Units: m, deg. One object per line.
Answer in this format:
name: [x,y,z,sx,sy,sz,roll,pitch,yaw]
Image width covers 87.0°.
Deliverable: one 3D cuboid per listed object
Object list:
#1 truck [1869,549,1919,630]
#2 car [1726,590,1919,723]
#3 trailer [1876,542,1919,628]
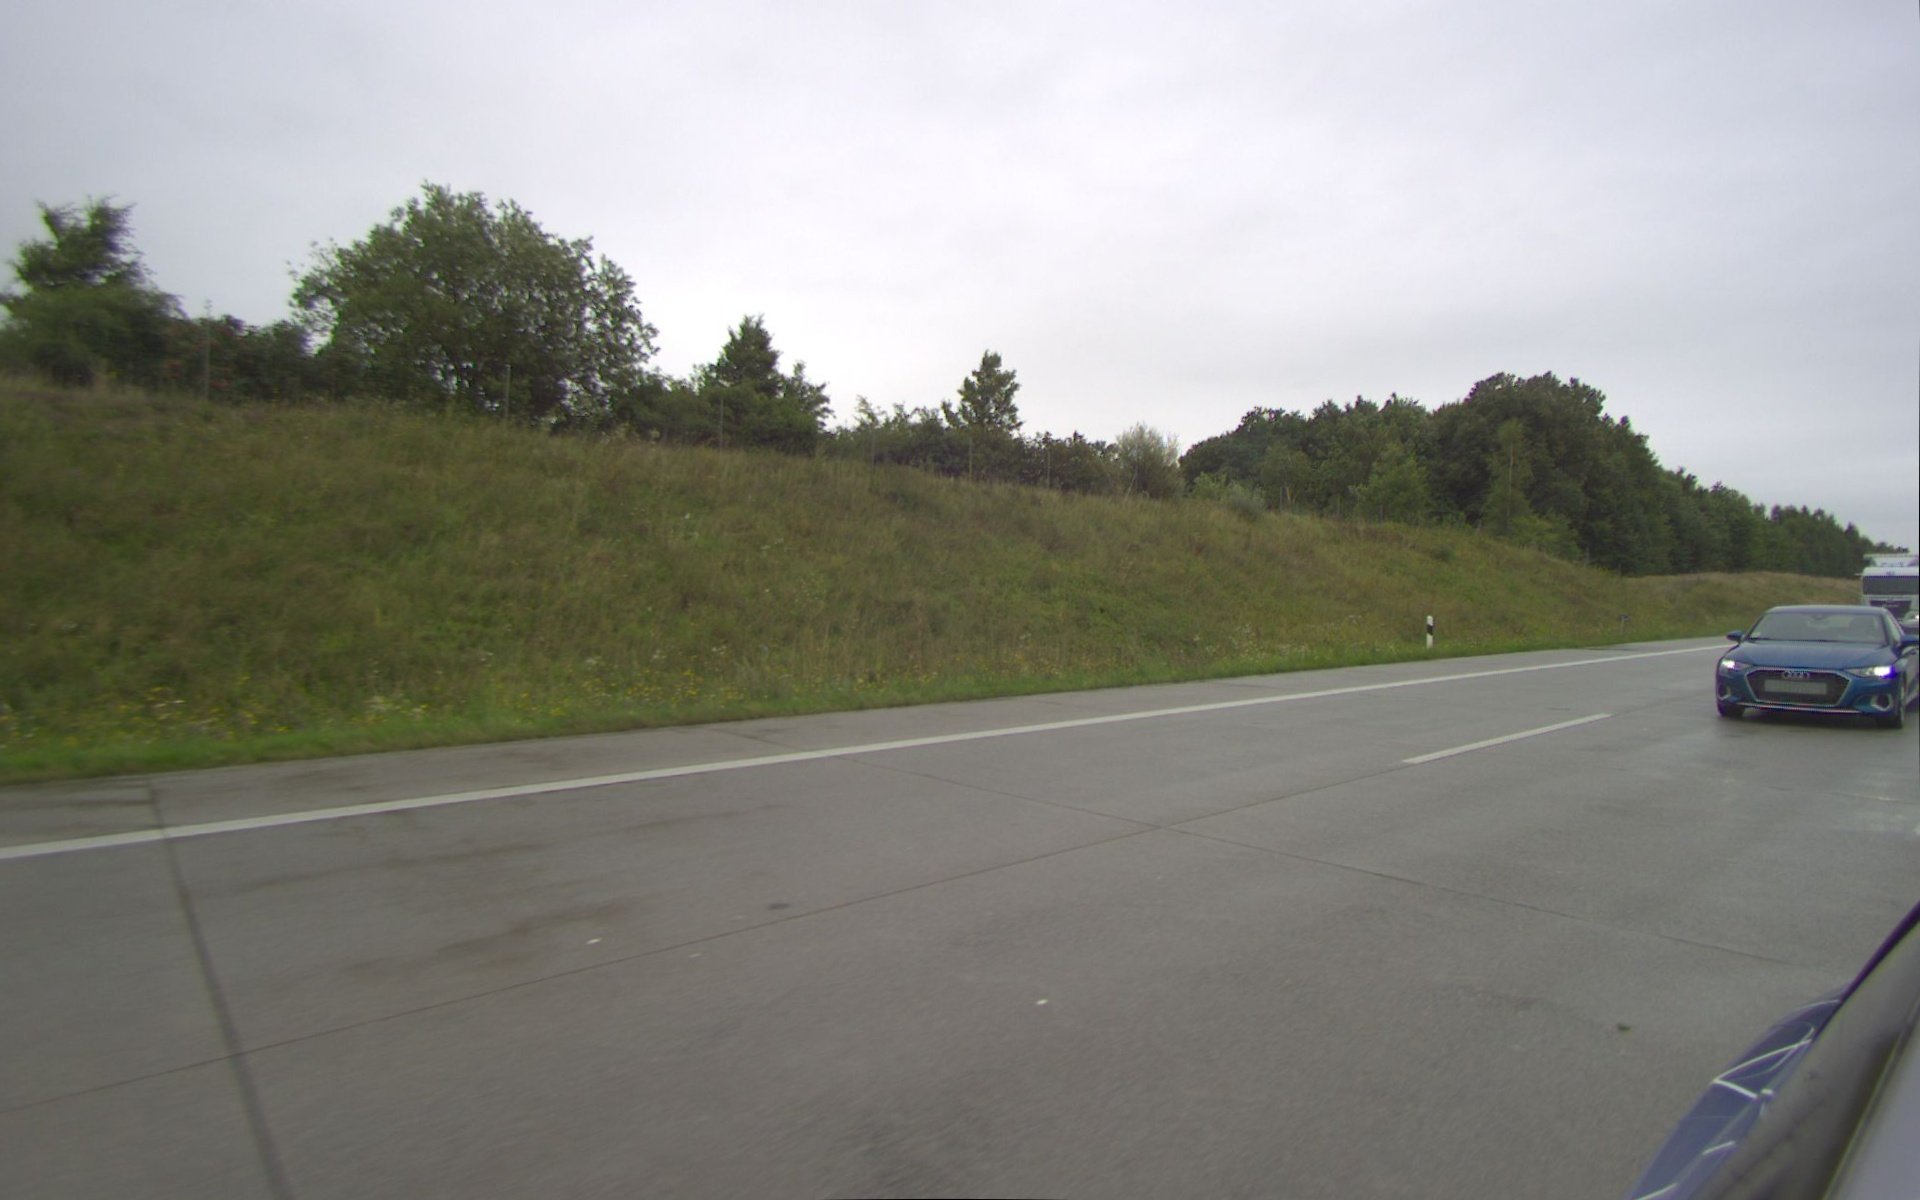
truck: [49.225,-0.498,52.305,5.585,4.005,2.641,1,-2,-41]
car: [11.883,0.626,13.519,4.591,1.477,1.732,0,1,-41]
trailer: [54.952,-0.648,57.388,14.937,4.436,2.711,1,-2,-41]
